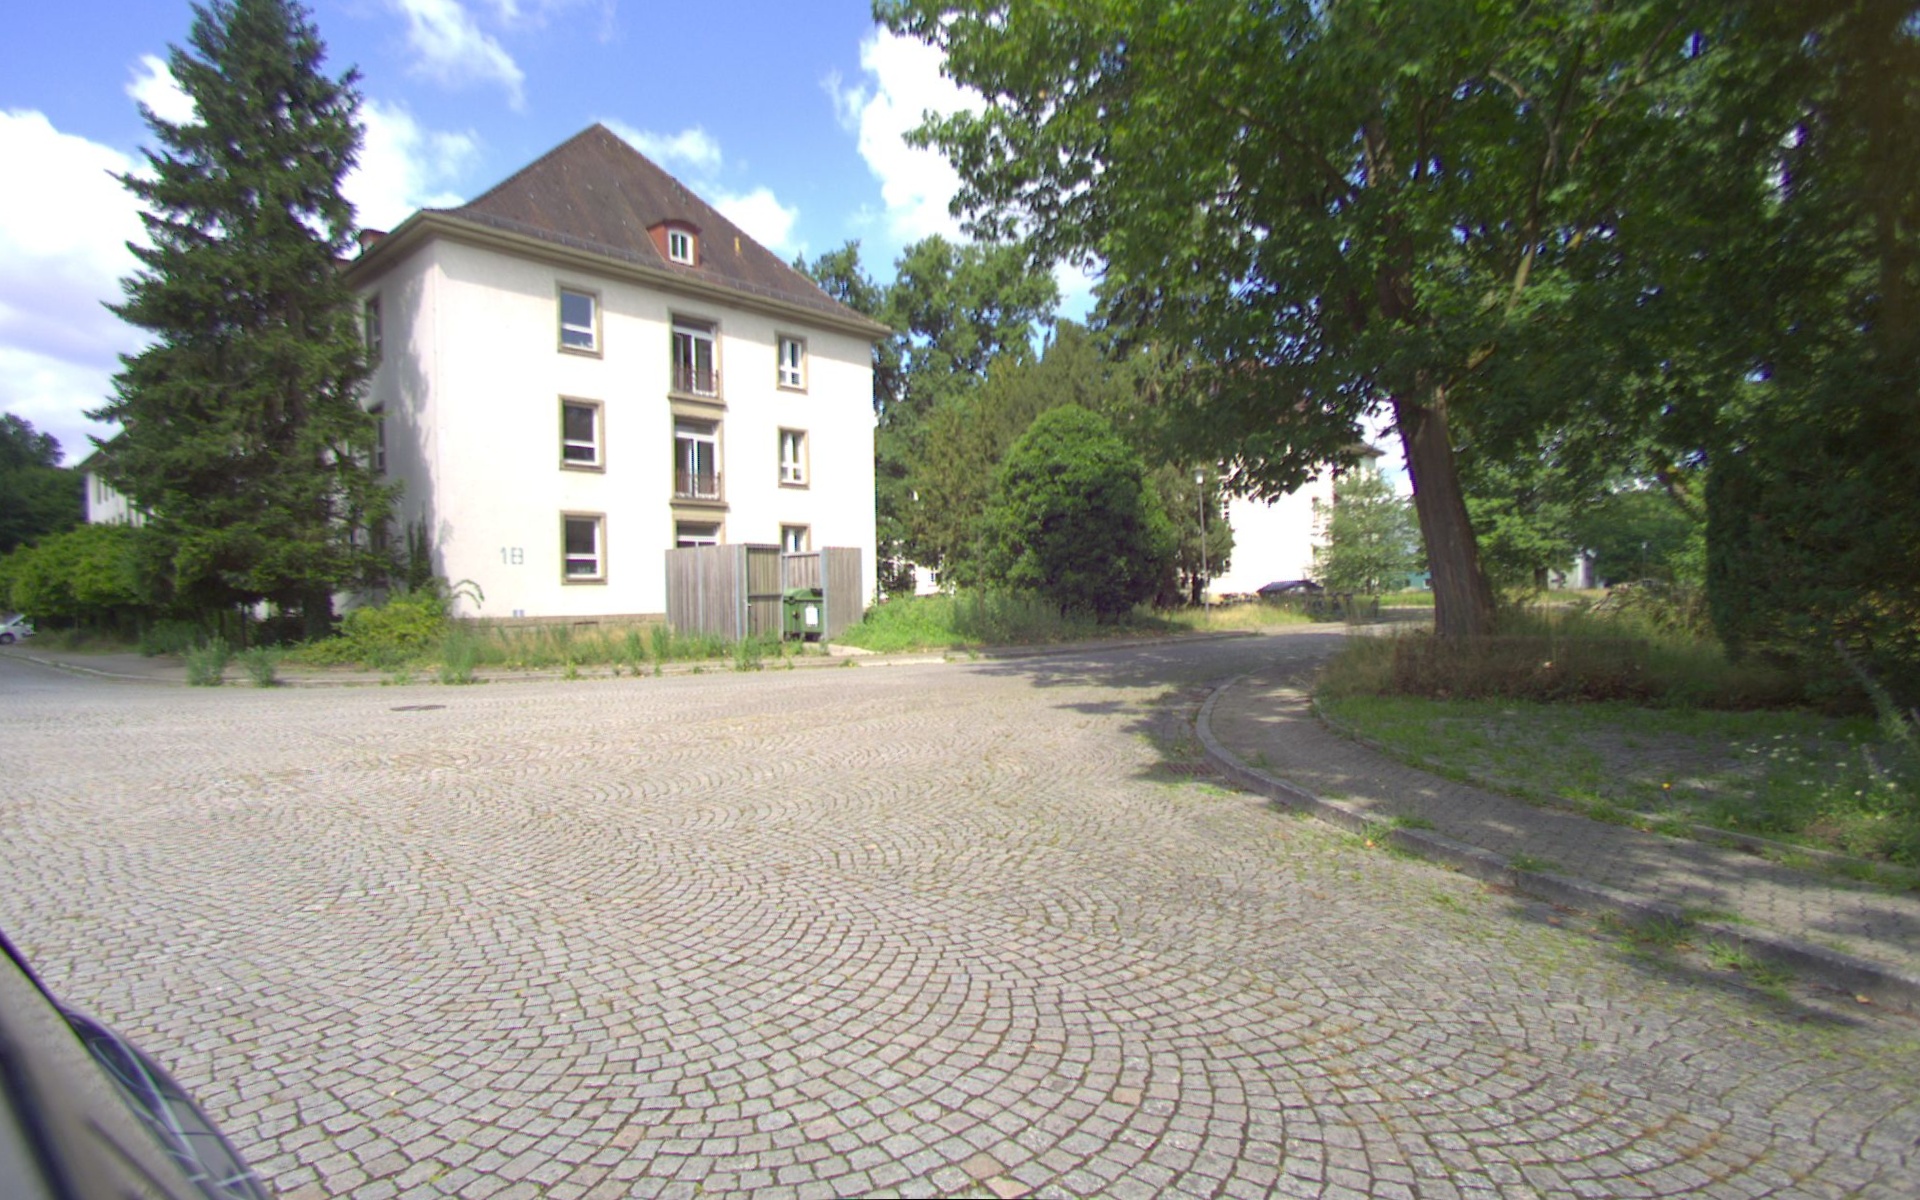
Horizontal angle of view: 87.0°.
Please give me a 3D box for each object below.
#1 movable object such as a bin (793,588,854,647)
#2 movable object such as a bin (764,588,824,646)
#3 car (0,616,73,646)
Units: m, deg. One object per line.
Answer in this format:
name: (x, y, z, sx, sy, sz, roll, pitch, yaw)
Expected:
movable object such as a bin: (-3.669, 0.450, 27.180, 1.152, 1.542, 1.158, -1, 0, 39)
movable object such as a bin: (-4.579, 0.459, 27.947, 1.152, 1.542, 1.158, -1, 0, 39)
car: (-55.654, 1.854, 60.297, 1.766, 1.656, 4.031, -1, 0, 41)
